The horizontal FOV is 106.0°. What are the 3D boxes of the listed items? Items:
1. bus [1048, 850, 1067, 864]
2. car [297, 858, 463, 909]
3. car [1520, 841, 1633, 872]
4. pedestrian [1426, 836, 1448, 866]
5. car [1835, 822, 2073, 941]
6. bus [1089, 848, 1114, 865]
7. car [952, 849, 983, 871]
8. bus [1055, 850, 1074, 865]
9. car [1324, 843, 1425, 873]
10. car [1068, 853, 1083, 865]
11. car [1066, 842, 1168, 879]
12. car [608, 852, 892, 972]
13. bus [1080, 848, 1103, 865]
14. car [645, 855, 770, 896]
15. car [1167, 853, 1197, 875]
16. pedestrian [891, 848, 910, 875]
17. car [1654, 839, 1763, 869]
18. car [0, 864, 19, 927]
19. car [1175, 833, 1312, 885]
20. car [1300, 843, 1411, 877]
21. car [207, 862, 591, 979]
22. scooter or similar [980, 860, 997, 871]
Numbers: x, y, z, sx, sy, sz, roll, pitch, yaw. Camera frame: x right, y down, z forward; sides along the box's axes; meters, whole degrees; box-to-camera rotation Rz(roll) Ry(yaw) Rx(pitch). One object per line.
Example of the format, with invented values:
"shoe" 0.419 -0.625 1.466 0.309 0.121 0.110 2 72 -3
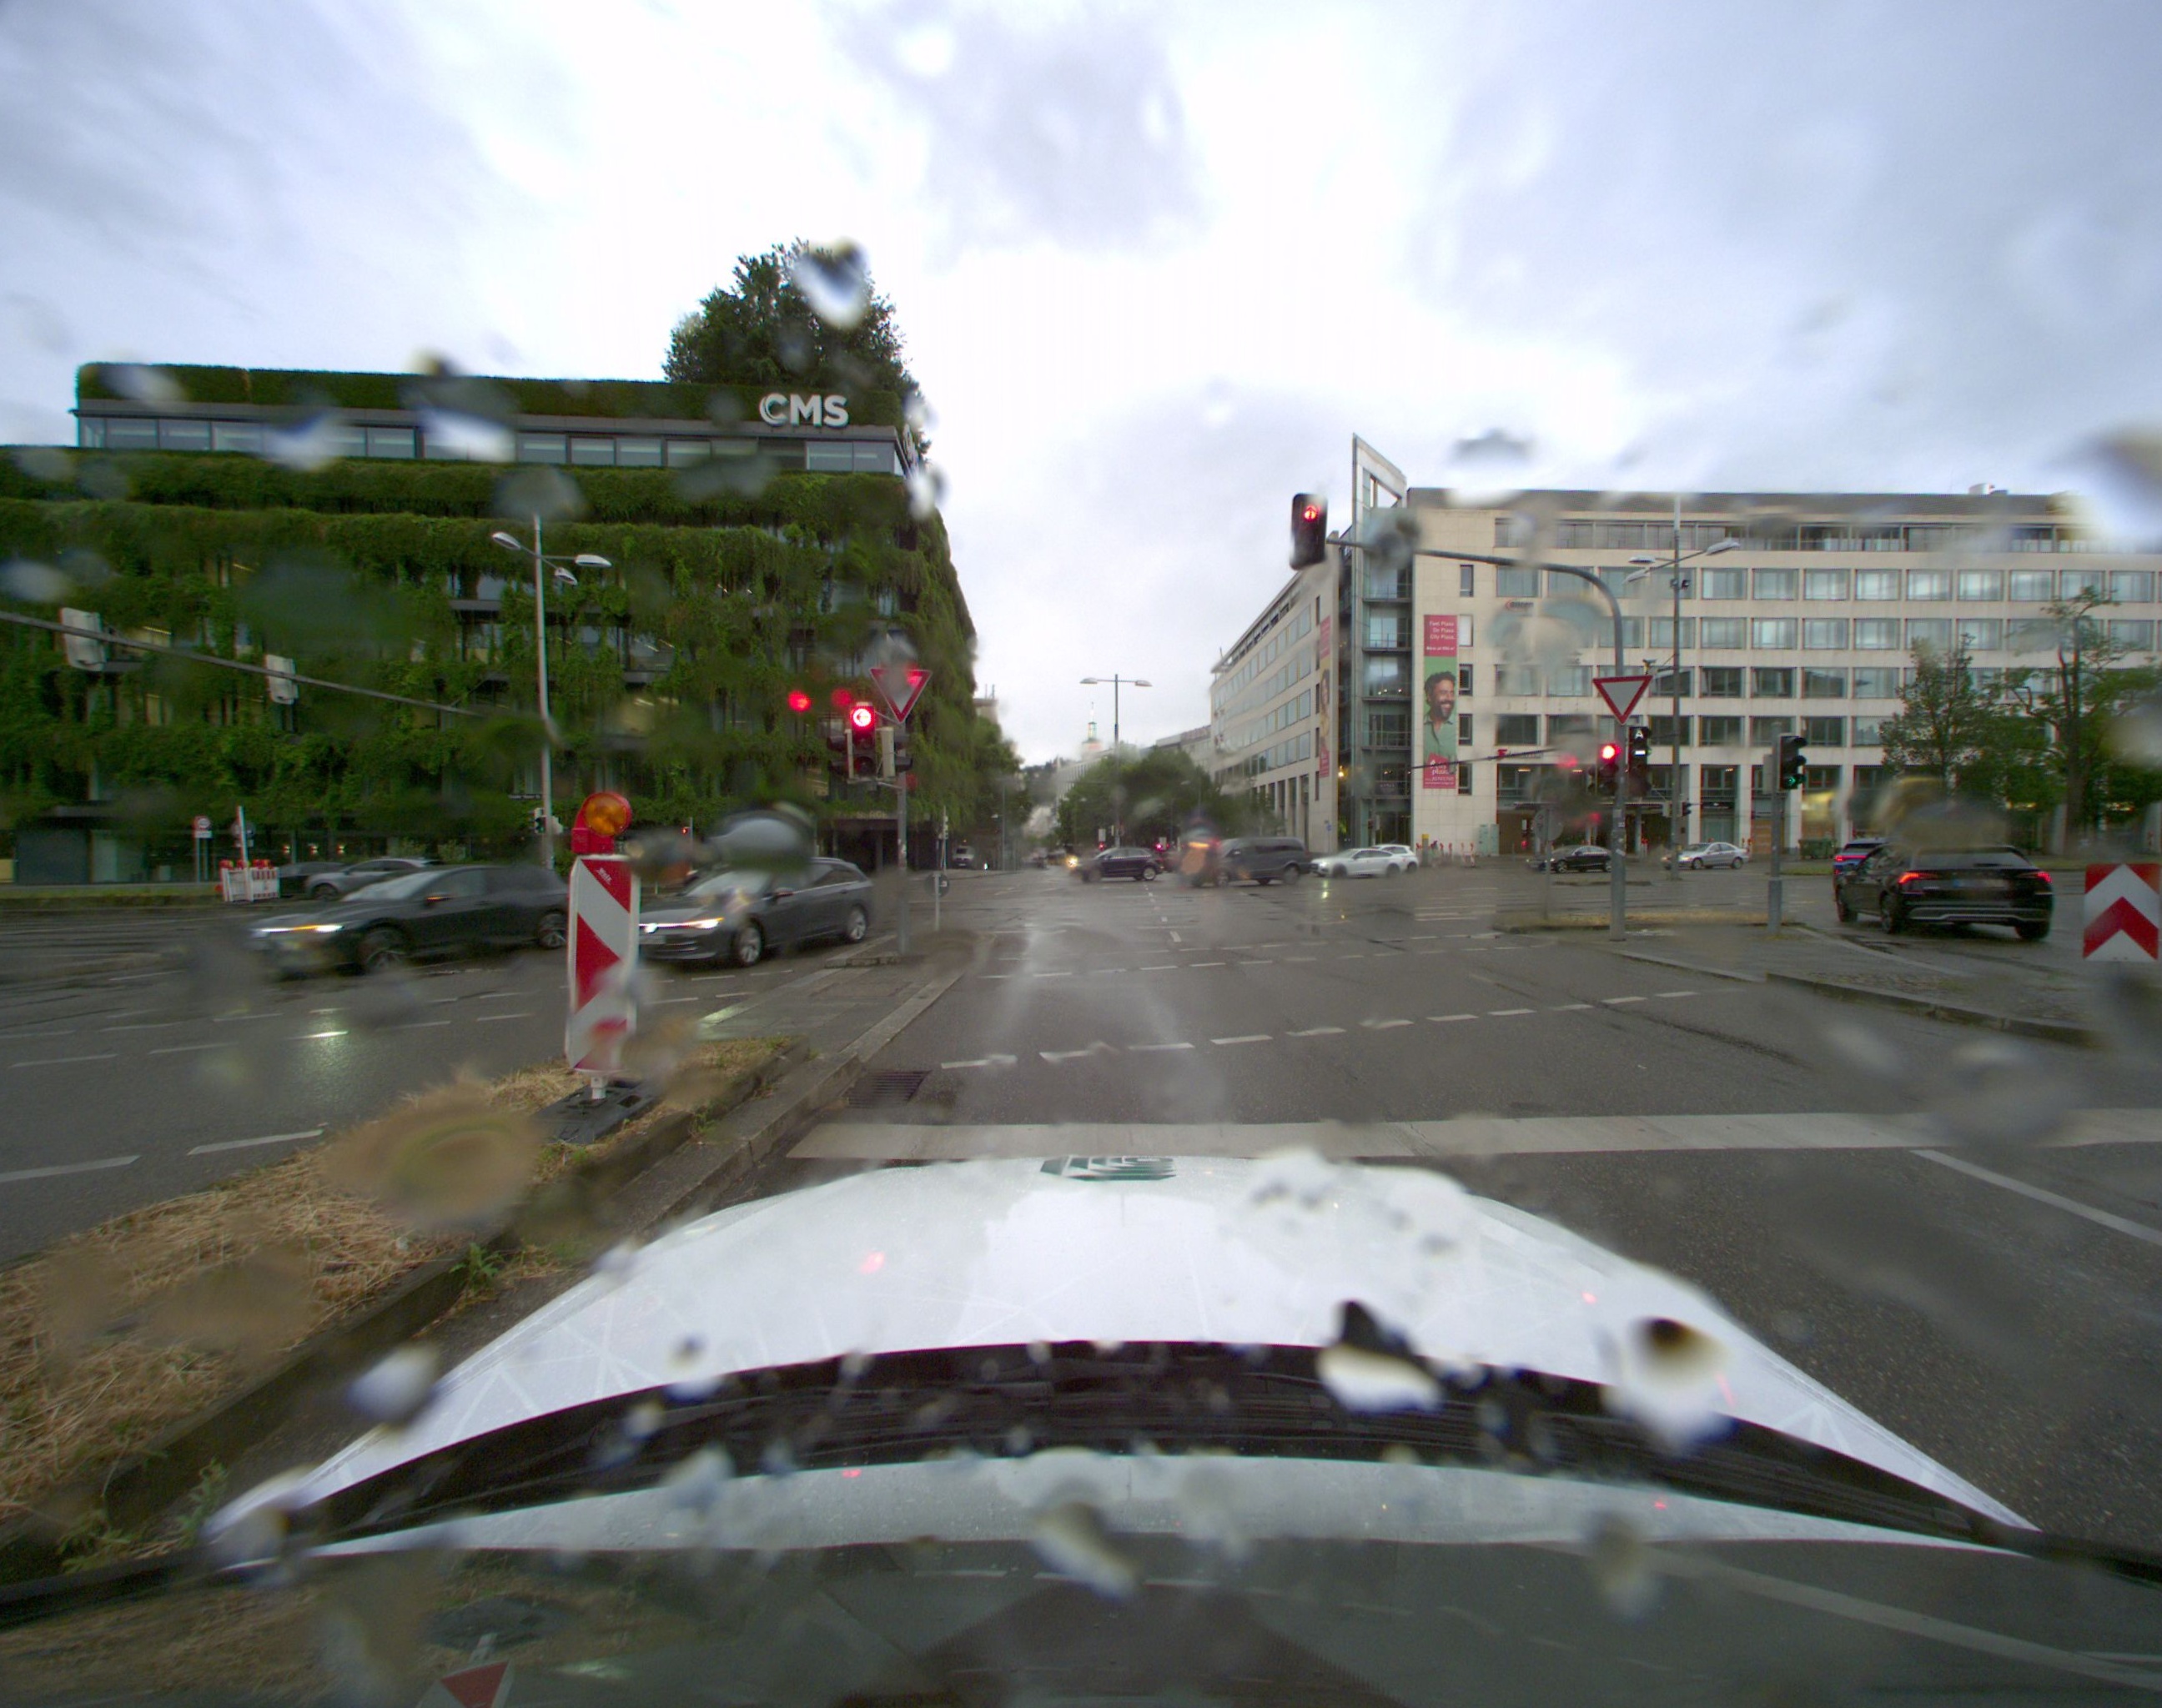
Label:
"bus" -5.236 0.740 180.712 2.631 2.995 7.415 -1 0 -13
"car" -24.626 1.008 28.779 3.992 1.669 1.843 0 -1 -14
"car" 24.989 0.122 41.127 4.850 1.477 1.992 0 -2 -12
"pedestrian" 21.645 -0.159 49.563 0.958 1.816 0.837 0 -1 1
"car" 14.483 0.371 13.810 1.910 1.695 4.026 -1 0 35
"bus" 3.682 0.417 146.085 2.631 2.995 7.415 -1 0 -13
"car" -9.553 0.503 68.731 1.863 1.839 4.001 0 -1 2
"bus" -3.540 0.730 173.569 2.631 2.995 7.294 -1 0 -13
"car" 15.115 0.196 41.970 4.690 1.512 1.802 0 -1 -14
"car" -0.866 0.833 127.025 2.158 1.765 5.108 -1 -1 -2
"car" 1.653 0.310 38.007 4.406 1.638 1.992 0 -1 -11
"car" -4.878 0.747 12.758 1.674 1.510 4.312 -1 0 19
"bus" 1.989 0.426 153.278 2.631 2.995 7.415 -1 0 -13
"car" -15.555 0.877 34.159 4.406 1.638 1.992 0 -1 -11
"car" 7.062 0.674 57.285 1.775 1.508 4.001 0 -1 2
"pedestrian" -11.219 0.477 50.654 0.930 1.644 0.774 0 -1 1
"car" 33.051 0.007 42.919 4.723 1.477 1.991 0 -2 -13
"car" -27.334 1.003 18.303 3.981 1.475 1.996 -1 0 -6
"car" 6.317 0.182 31.687 4.969 1.927 1.985 0 -1 -23
"car" 12.796 0.257 38.027 4.690 1.512 1.802 0 -1 -14
"car" -9.878 0.854 12.316 1.675 1.431 4.230 -1 -1 15
"scooter or similar" -9.423 1.179 82.943 0.616 1.004 1.671 -1 0 40
